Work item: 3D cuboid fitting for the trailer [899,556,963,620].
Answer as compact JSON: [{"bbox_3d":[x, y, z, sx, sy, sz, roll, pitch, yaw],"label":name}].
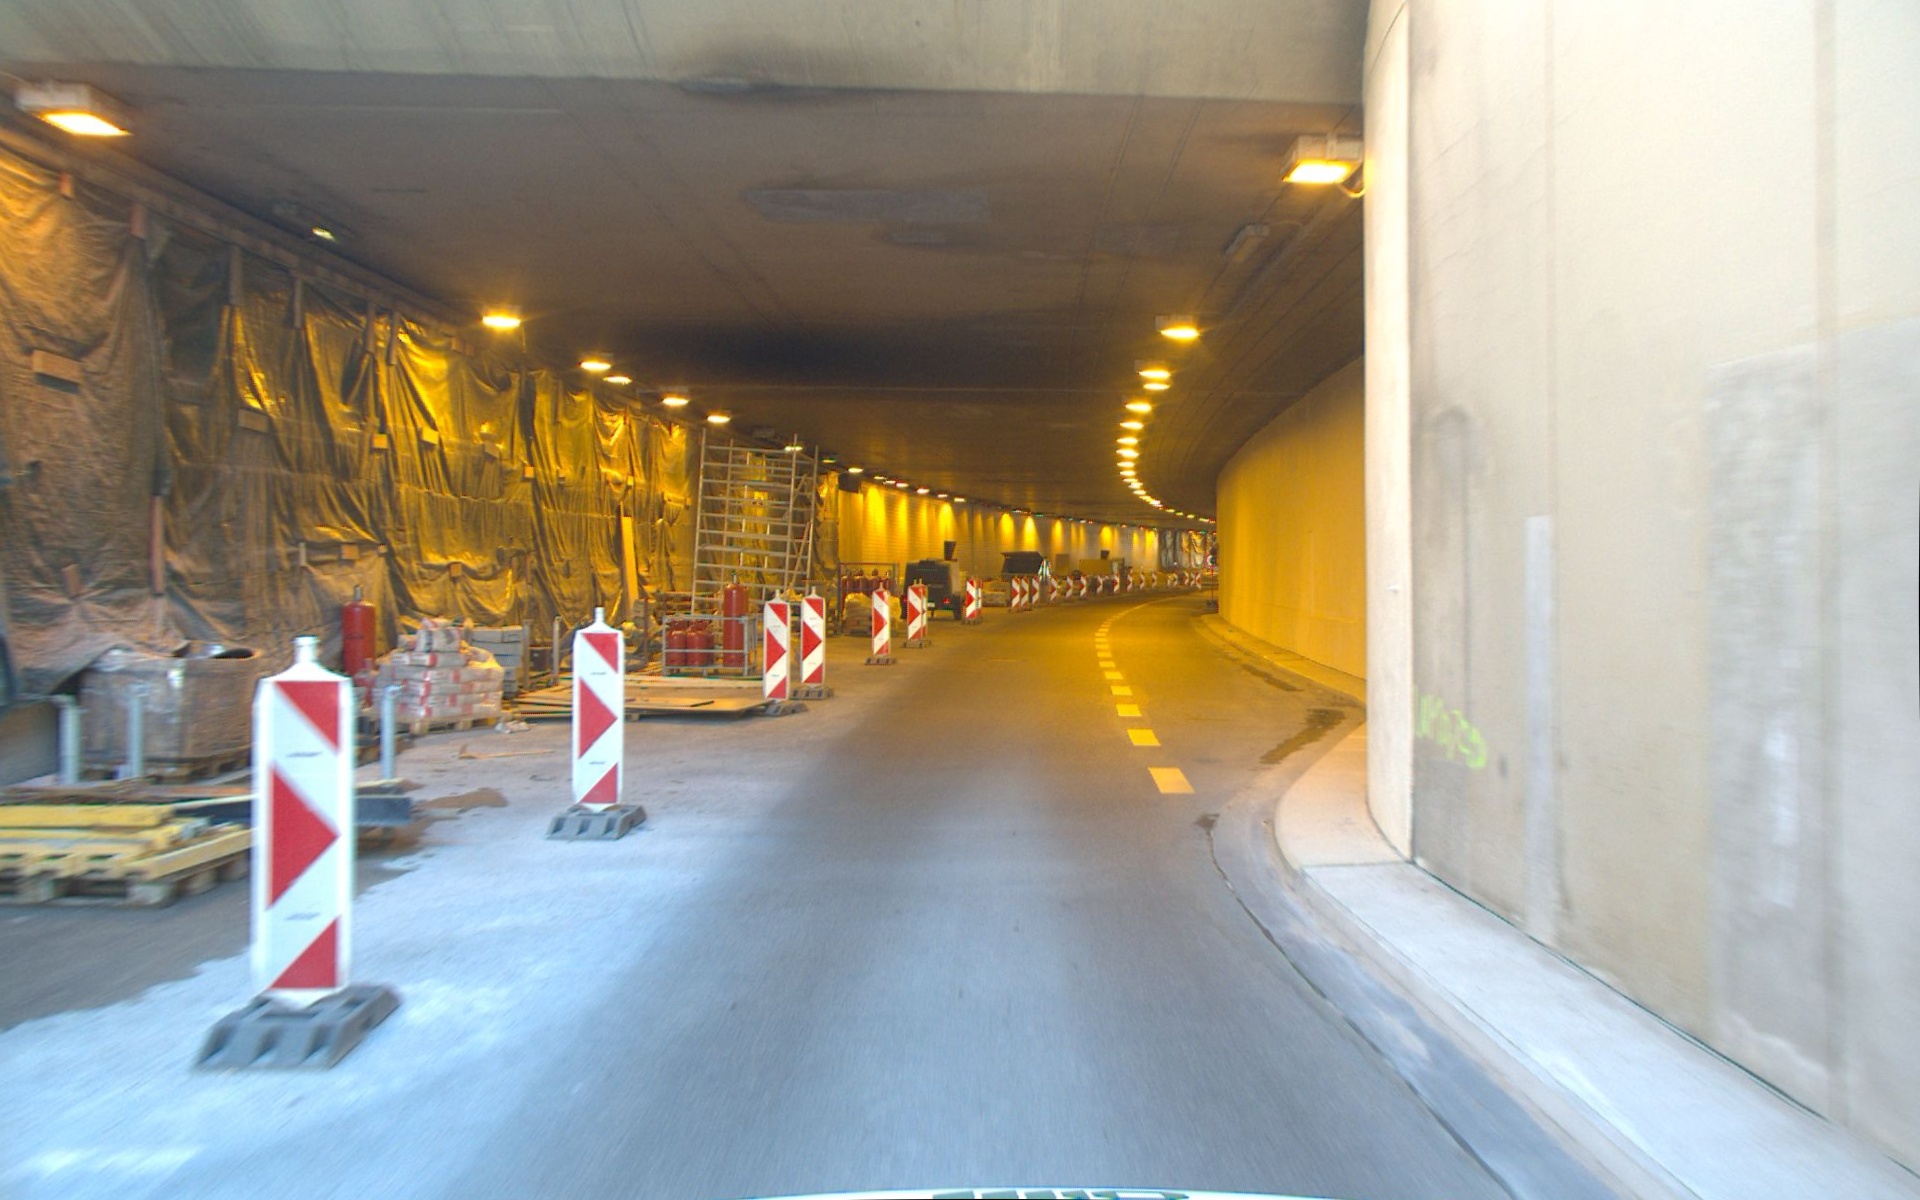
[{"bbox_3d":[-0.824,-0.362,49.084,1.547,1.829,2.941,1,1,6],"label":"trailer"}]
